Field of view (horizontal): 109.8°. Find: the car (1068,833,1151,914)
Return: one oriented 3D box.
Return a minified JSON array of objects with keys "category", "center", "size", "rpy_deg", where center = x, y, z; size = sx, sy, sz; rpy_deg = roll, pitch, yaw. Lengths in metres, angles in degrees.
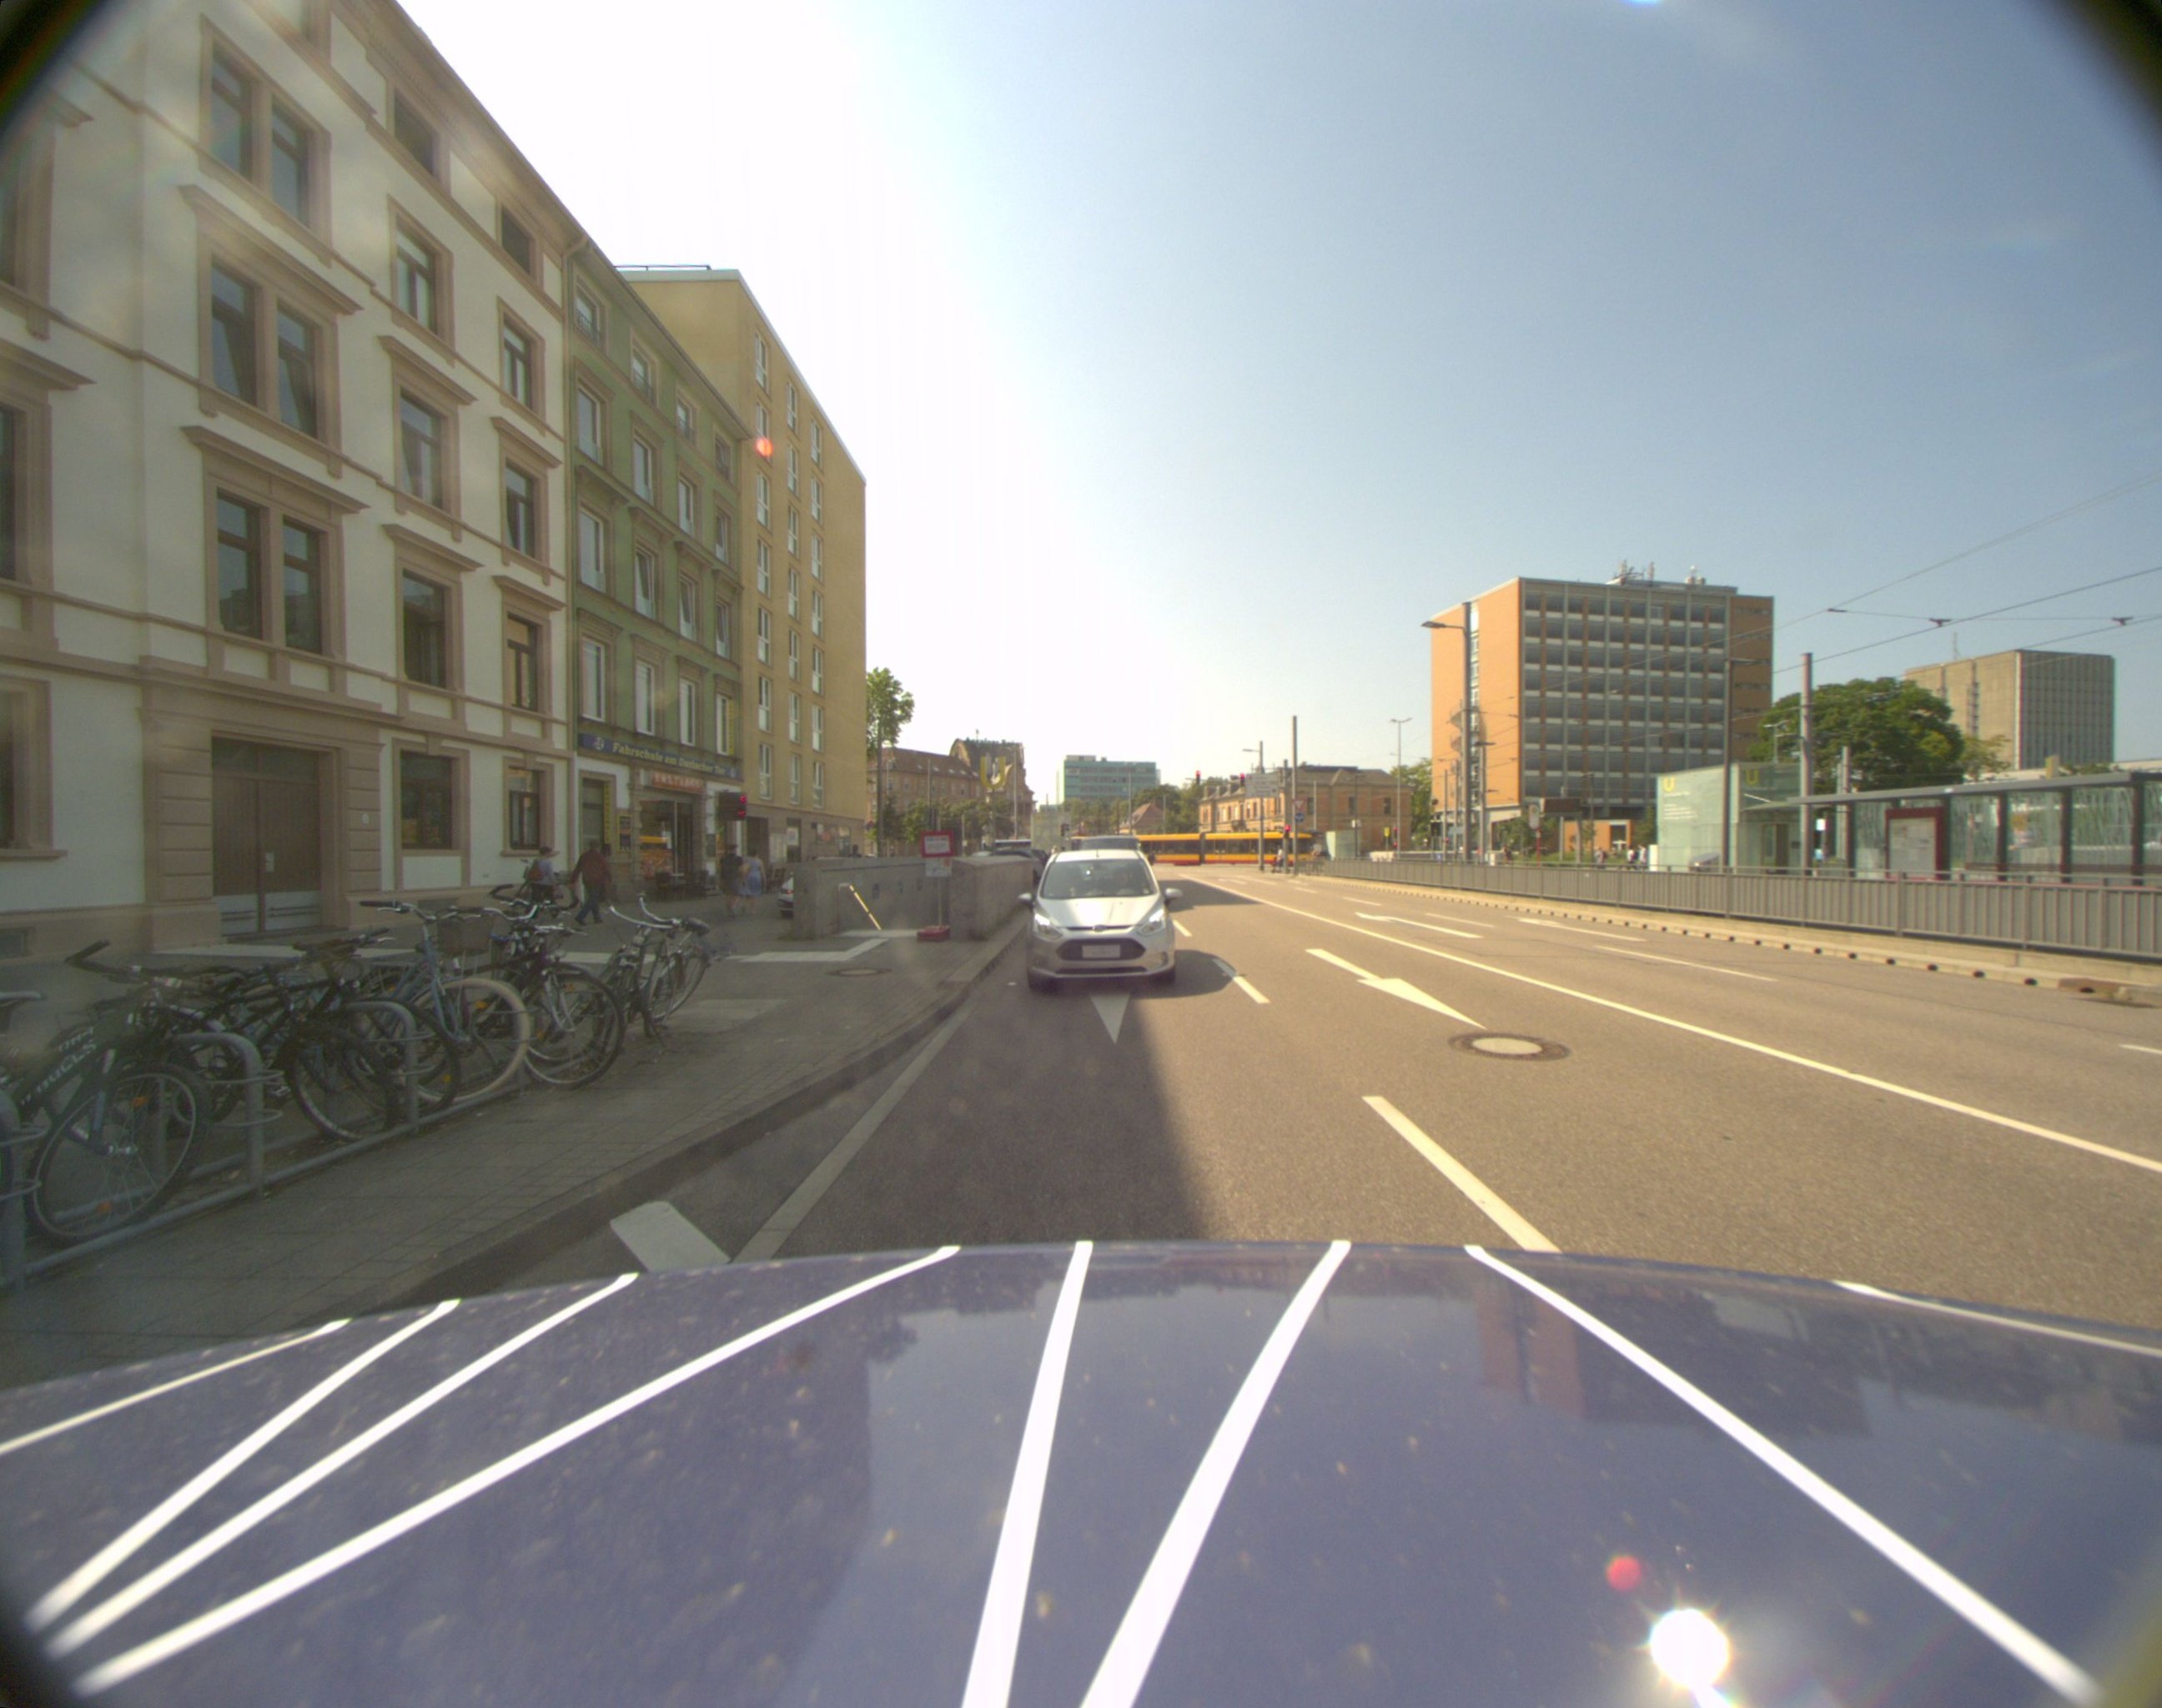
[{"category":"car","center":[0.743,0.446,21.094],"size":[1.998,1.953,4.815],"rpy_deg":[-1,1,1]}]

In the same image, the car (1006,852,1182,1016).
[{"category":"car","center":[0.181,0.820,9.774],"size":[1.728,1.579,4.000],"rpy_deg":[-3,1,1]}]

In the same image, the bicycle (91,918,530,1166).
[{"category":"bicycle","center":[-4.197,1.001,4.214],"size":[1.841,1.196,0.549],"rpy_deg":[-2,1,1]}]

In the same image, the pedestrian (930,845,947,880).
[{"category":"pedestrian","center":[-6.785,0.391,36.143],"size":[0.645,1.619,0.796],"rpy_deg":[1,1,-1]}]

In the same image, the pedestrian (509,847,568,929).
[{"category":"pedestrian","center":[-10.969,0.670,15.377],"size":[0.645,1.619,0.796],"rpy_deg":[1,1,-3]}]

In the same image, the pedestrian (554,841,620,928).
[{"category":"pedestrian","center":[-9.987,0.601,15.396],"size":[0.772,1.724,0.881],"rpy_deg":[1,1,-3]}]

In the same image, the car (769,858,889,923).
[{"category":"car","center":[-6.393,0.873,19.760],"size":[1.666,1.418,3.934],"rpy_deg":[2,1,2]}]

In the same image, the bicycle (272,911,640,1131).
[{"category":"bicycle","center":[-3.745,0.985,4.614],"size":[1.841,1.196,0.434],"rpy_deg":[-2,1,1]}]

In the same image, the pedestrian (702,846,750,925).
[{"category":"pedestrian","center":[-7.991,0.690,17.129],"size":[0.688,1.748,0.796],"rpy_deg":[1,1,-1]}]

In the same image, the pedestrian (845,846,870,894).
[{"category":"pedestrian","center":[-7.714,0.537,26.262],"size":[0.645,1.619,0.796],"rpy_deg":[1,1,-1]}]

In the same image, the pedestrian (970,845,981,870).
[{"category":"pedestrian","center":[-6.971,0.242,50.104],"size":[0.645,1.619,0.796],"rpy_deg":[1,1,-1]}]

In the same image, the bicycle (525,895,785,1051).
[{"category":"bicycle","center":[-3.620,0.998,6.547],"size":[1.841,1.196,0.637],"rpy_deg":[-2,1,2]}]

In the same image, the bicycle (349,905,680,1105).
[{"category":"bicycle","center":[-3.719,0.978,5.050],"size":[1.841,1.196,0.434],"rpy_deg":[-2,1,1]}]

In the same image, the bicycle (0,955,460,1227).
[{"category":"bicycle","center":[-4.143,1.072,3.596],"size":[1.841,1.050,0.657],"rpy_deg":[-2,1,1]}]

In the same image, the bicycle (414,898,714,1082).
[{"category":"bicycle","center":[-3.708,0.962,5.511],"size":[1.841,1.212,0.434],"rpy_deg":[-2,1,1]}]

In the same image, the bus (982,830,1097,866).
[{"category":"bus","center":[-4.271,-0.505,74.881],"size":[12.310,3.120,2.927],"rpy_deg":[-2,1,38]}]

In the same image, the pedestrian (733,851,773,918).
[{"category":"pedestrian","center":[-8.098,0.728,18.786],"size":[0.645,1.619,0.796],"rpy_deg":[1,1,-1]}]

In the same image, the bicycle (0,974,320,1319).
[{"category":"bicycle","center":[-4.173,1.062,2.906],"size":[1.841,1.054,0.657],"rpy_deg":[-2,1,1]}]

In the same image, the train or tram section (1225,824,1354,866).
[{"category":"train or tram section","center":[19.713,-0.833,72.994],"size":[12.331,3.743,2.004],"rpy_deg":[0,1,41]}]

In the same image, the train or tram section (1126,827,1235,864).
[{"category":"train or tram section","center":[10.403,-0.875,81.033],"size":[12.331,3.743,2.004],"rpy_deg":[0,1,39]}]

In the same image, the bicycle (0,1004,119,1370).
[{"category":"bicycle","center":[-4.182,1.054,2.239],"size":[1.841,1.047,0.657],"rpy_deg":[-2,1,1]}]

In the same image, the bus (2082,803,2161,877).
[{"category":"bus","center":[52.021,-0.768,30.875],"size":[3.357,3.276,13.371],"rpy_deg":[-3,1,-45]}]

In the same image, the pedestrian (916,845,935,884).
[{"category":"pedestrian","center":[-6.605,0.426,32.366],"size":[0.645,1.619,0.796],"rpy_deg":[1,1,-1]}]

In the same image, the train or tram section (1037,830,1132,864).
[{"category":"train or tram section","center":[0.216,-0.836,89.019],"size":[12.331,3.743,2.004],"rpy_deg":[0,1,37]}]

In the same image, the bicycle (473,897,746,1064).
[{"category":"bicycle","center":[-3.680,0.975,5.989],"size":[1.841,1.196,0.434],"rpy_deg":[-2,1,1]}]
